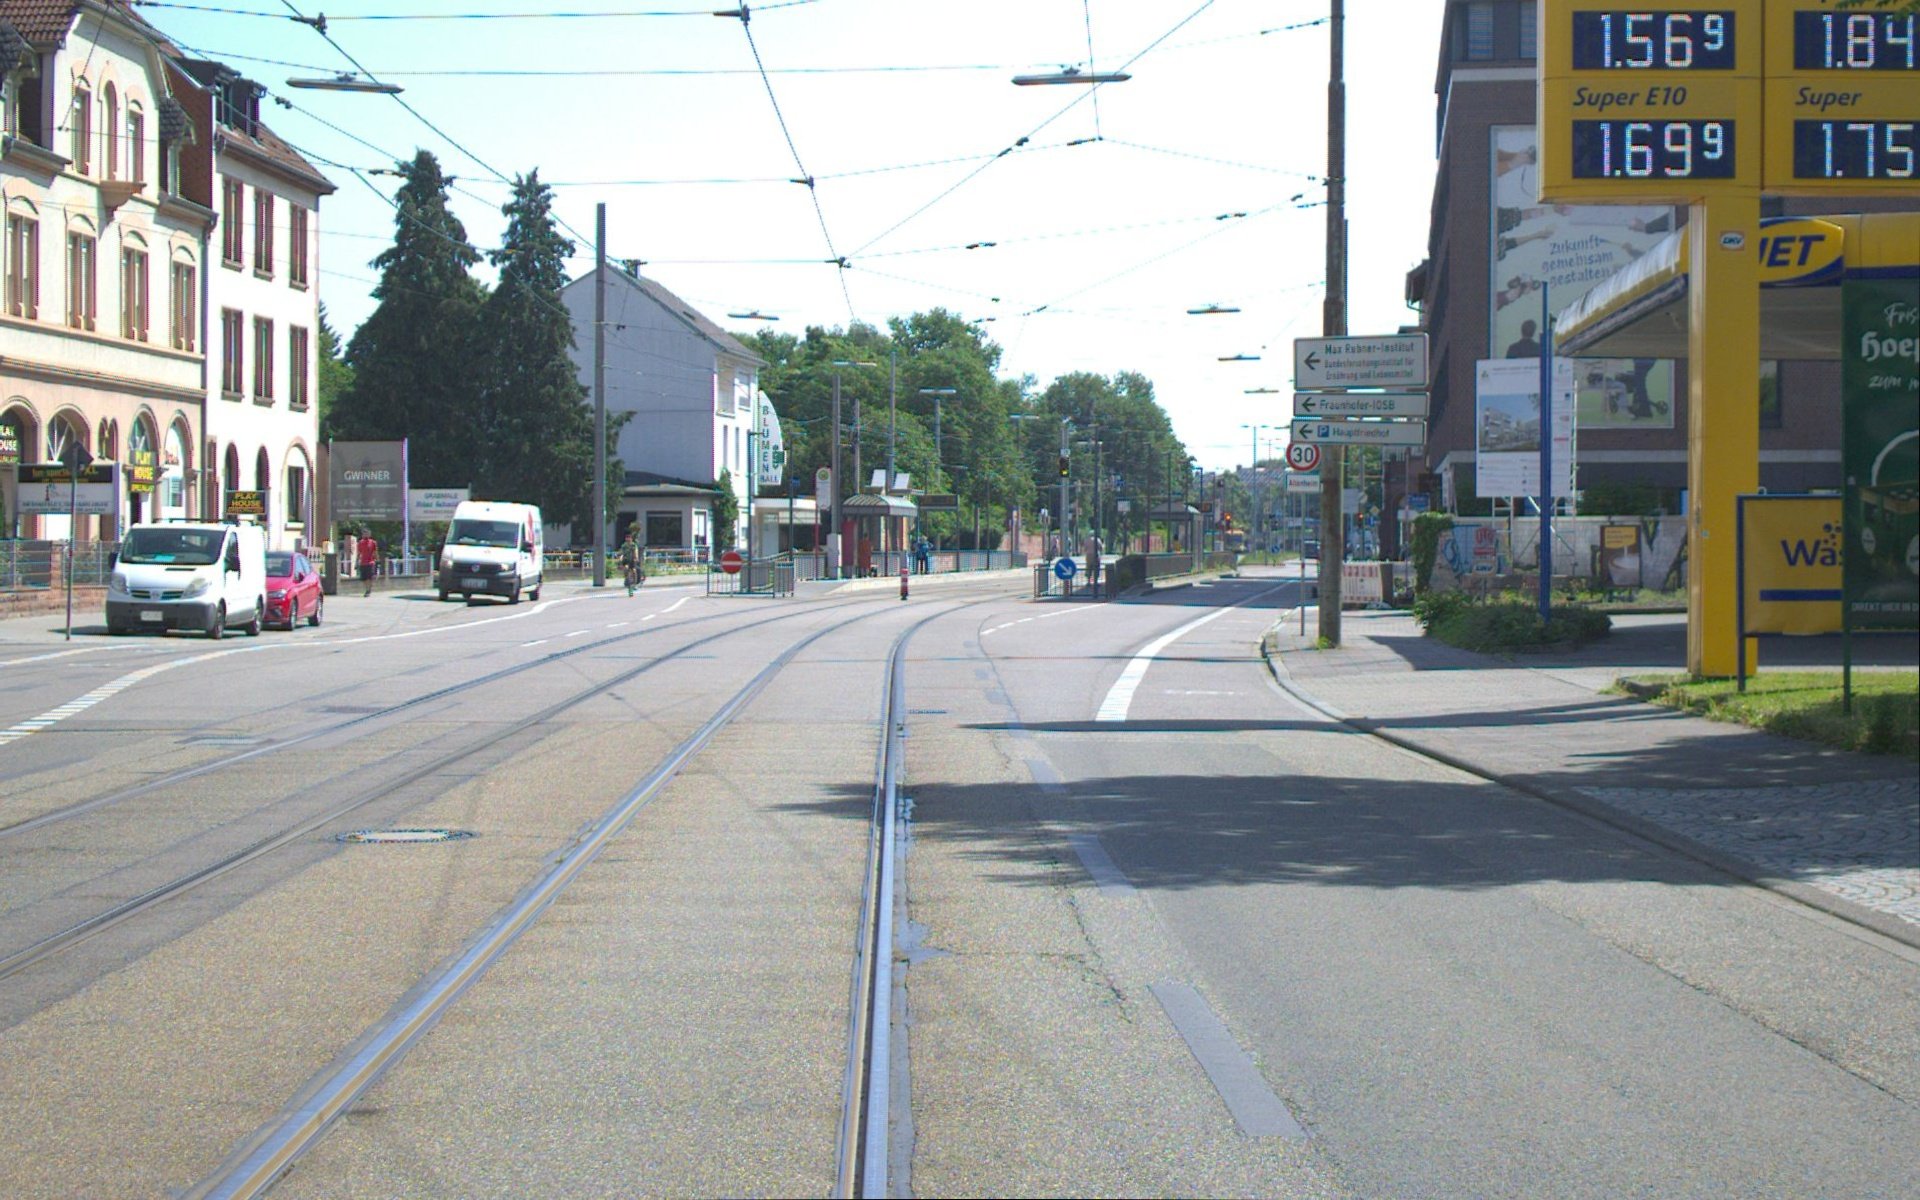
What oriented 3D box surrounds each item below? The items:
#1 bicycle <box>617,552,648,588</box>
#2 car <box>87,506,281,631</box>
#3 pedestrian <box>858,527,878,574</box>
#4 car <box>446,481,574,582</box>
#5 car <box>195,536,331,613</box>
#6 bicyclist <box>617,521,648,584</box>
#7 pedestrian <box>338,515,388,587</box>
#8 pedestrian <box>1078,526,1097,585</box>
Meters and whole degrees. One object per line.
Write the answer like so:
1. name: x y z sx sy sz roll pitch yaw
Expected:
1. bicycle: -8.957 -0.828 94.108 0.608 0.980 2.164 0 1 1
2. car: -13.170 -0.560 58.652 2.084 2.007 4.908 1 1 1
3. pedestrian: -3.270 -1.763 122.163 0.705 1.684 0.416 0 1 0
4. car: -11.551 -1.795 88.764 2.329 2.527 6.507 0 2 1
5. car: -13.104 -0.509 64.830 1.720 1.401 4.001 0 1 0
6. bicyclist: -8.950 -1.305 94.013 0.716 1.718 0.988 0 1 1
7. pedestrian: -15.030 -1.236 86.576 0.942 1.809 1.129 0 1 9
8. pedestrian: 3.835 -1.344 103.475 0.556 1.754 0.793 0 1 1
